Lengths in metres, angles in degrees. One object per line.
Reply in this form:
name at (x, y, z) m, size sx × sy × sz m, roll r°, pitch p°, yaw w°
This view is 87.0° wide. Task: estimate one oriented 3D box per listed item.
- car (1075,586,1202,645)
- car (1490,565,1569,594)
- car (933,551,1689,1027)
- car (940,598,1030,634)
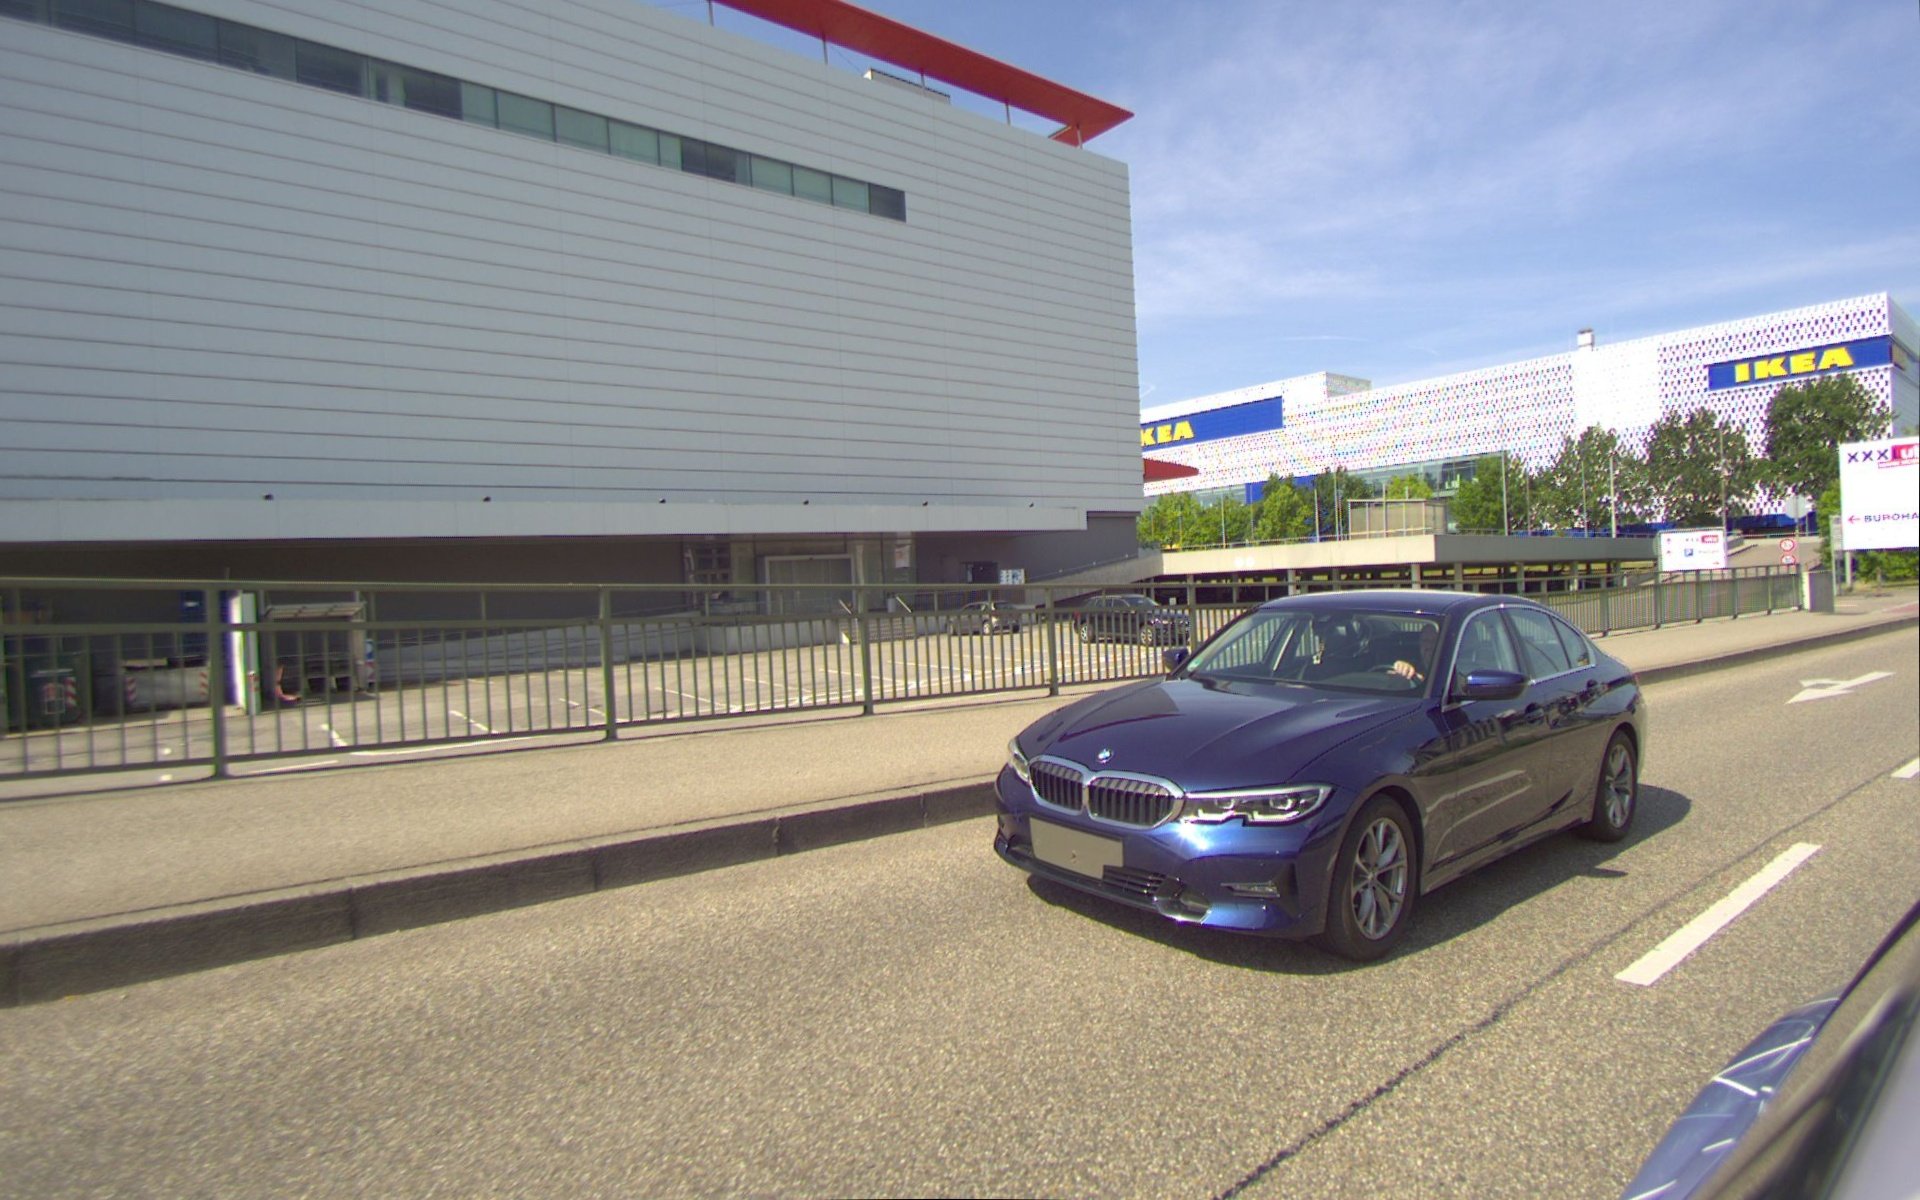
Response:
car at (5.968, 0.520, 34.345) m, size 1.825 × 1.754 × 4.422 m, roll -3°, pitch 1°, yaw -29°
car at (39.114, -1.419, 69.563) m, size 1.967 × 1.857 × 4.307 m, roll -1°, pitch 0°, yaw -44°
car at (2.175, 0.579, 5.502) m, size 4.441 × 1.502 × 1.791 m, roll -4°, pitch 1°, yaw -39°
car at (1.048, 0.707, 43.992) m, size 1.779 × 1.393 × 3.864 m, roll -2°, pitch -1°, yaw -39°
